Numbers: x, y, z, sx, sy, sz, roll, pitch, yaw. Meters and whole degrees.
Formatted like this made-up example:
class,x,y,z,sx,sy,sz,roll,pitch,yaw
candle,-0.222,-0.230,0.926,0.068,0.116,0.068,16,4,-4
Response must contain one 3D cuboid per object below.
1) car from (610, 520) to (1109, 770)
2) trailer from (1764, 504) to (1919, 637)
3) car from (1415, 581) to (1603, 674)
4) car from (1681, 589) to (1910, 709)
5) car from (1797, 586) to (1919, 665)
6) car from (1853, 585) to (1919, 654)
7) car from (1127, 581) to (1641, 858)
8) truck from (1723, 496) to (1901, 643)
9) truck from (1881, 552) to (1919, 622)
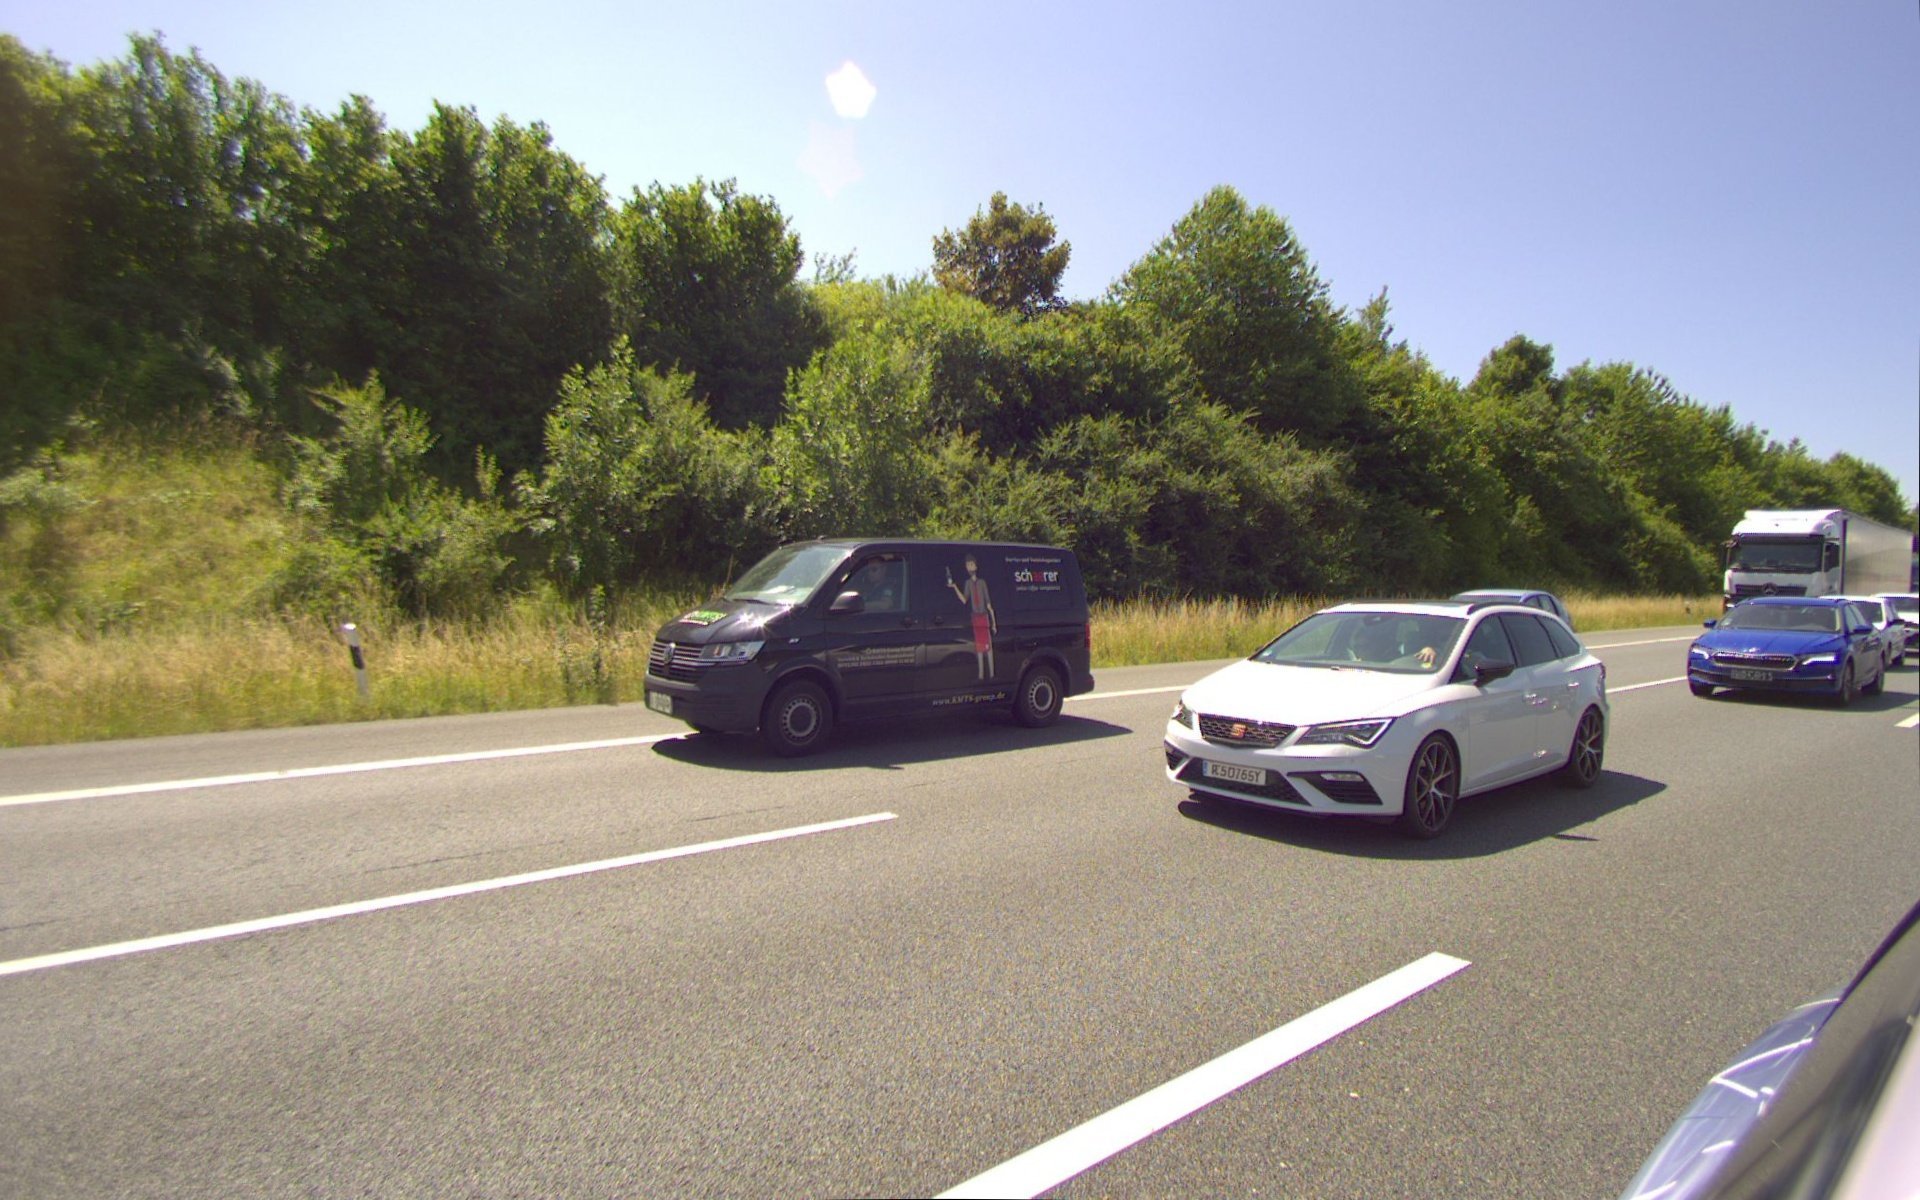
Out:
class,x,y,z,sx,sy,sz,roll,pitch,yaw
car,-0.819,0.290,10.203,4.770,1.964,1.918,-1,2,-40
trailer,32.683,-1.007,36.816,11.857,4.208,2.880,-1,1,-39
car,10.036,0.430,18.394,3.852,1.479,1.666,0,2,-39
car,12.452,0.595,14.985,4.491,1.434,1.780,-1,3,-40
car,19.170,0.472,21.405,3.743,1.451,1.609,-1,3,-40
car,24.009,0.448,25.426,3.815,1.577,1.748,-1,3,-40
car,3.310,0.607,7.499,4.237,1.461,1.751,-1,2,-40
truck,27.811,-0.941,32.867,8.322,4.208,2.880,-1,1,-39
truck,45.434,-0.623,47.586,5.573,3.185,2.300,-1,1,-39
